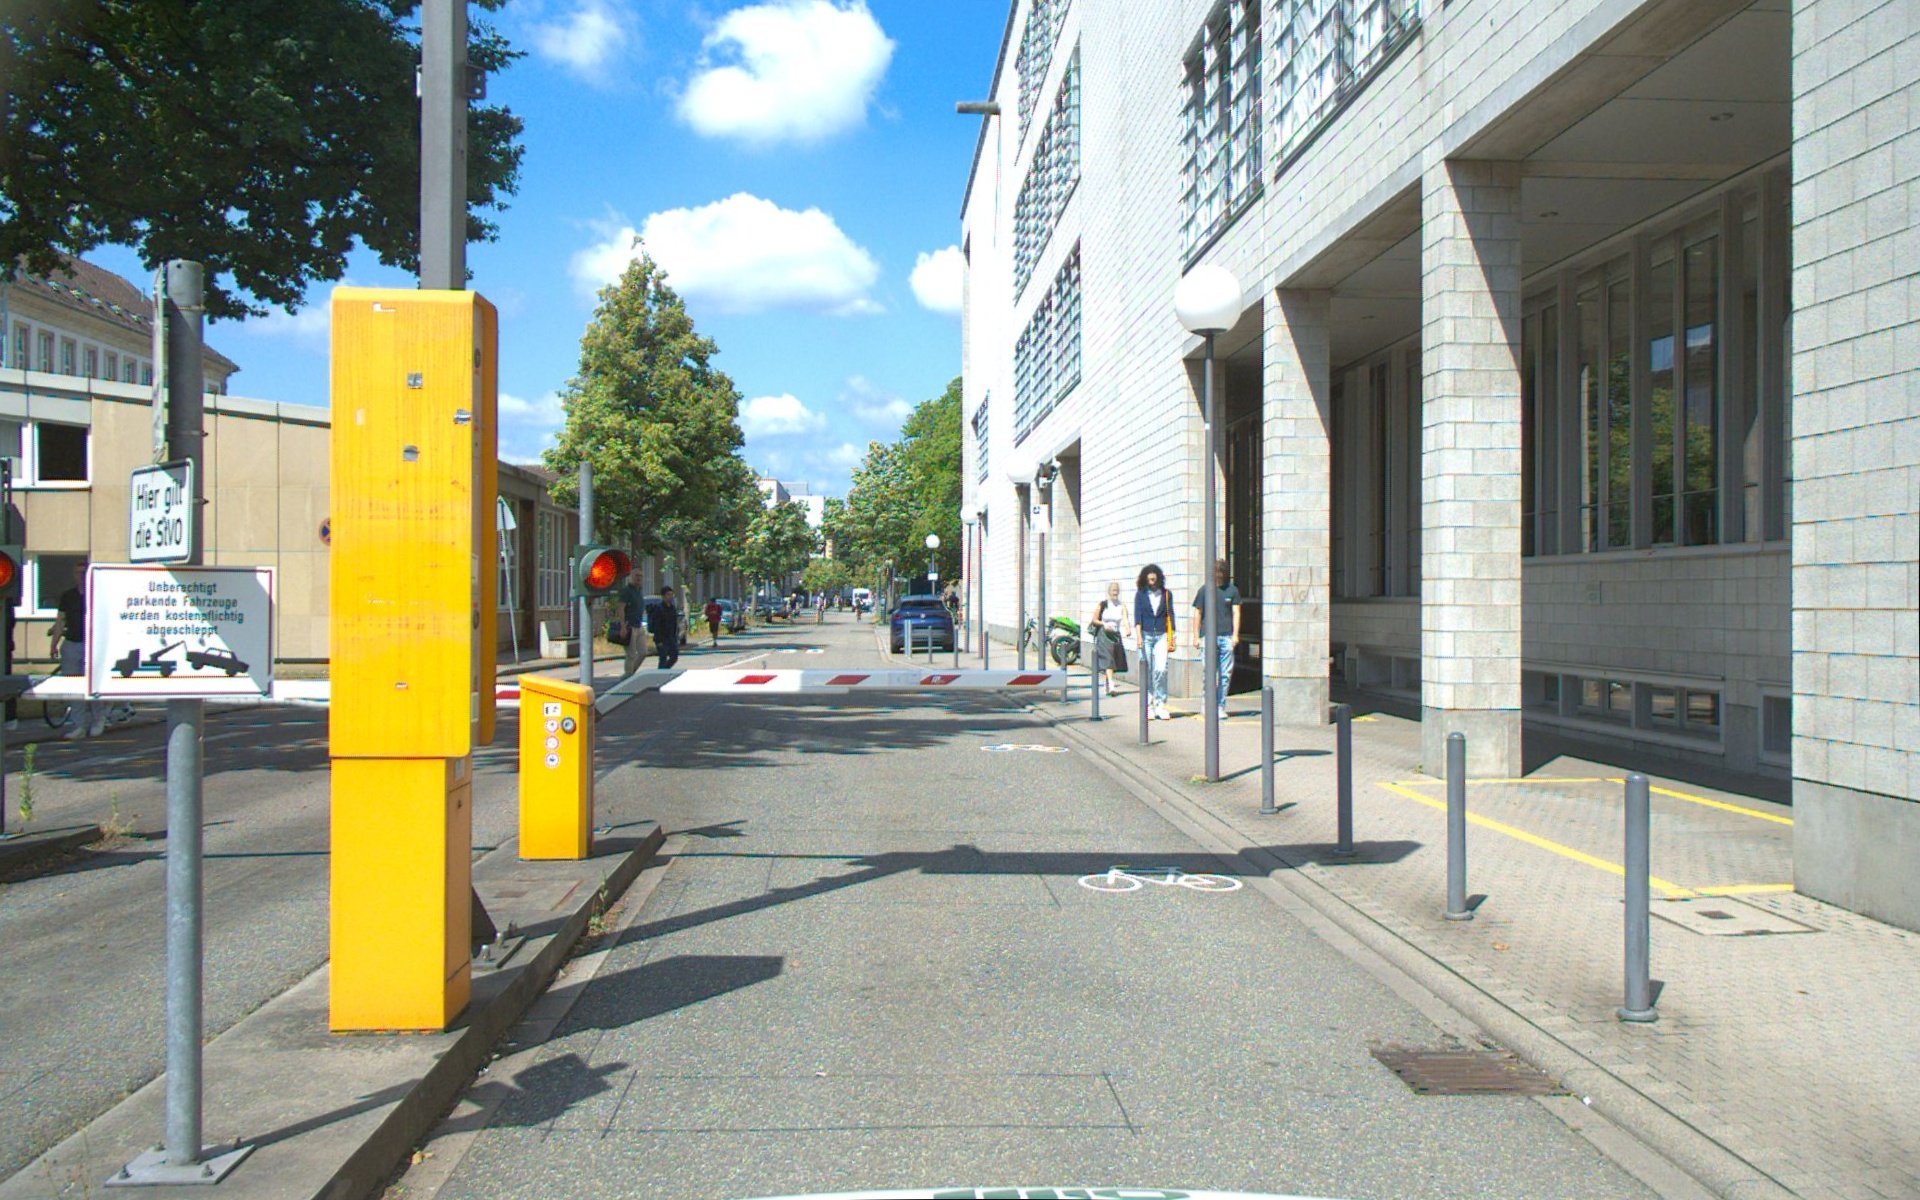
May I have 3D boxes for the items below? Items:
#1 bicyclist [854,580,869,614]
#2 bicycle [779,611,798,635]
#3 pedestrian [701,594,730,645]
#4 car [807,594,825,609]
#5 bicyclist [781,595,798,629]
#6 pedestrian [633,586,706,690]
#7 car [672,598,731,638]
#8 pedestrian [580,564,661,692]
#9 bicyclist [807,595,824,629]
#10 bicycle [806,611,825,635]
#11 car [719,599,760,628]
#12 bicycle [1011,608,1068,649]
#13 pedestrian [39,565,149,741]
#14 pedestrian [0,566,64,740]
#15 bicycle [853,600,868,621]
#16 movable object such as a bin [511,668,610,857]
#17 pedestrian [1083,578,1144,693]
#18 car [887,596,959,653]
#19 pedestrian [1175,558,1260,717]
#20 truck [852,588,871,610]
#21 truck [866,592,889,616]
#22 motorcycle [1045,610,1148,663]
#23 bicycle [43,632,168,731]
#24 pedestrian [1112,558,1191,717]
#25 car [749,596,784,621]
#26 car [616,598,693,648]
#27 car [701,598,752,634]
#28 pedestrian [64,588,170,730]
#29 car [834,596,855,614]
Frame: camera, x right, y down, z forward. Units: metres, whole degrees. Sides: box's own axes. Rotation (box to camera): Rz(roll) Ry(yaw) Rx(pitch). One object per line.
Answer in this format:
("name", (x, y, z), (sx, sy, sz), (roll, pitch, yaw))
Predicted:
("bicyclist", (-6.560, -0.194, 109.663), (0.968, 2.169, 1.035), (0, -2, -4))
("bicycle", (-9.954, 1.347, 96.075), (0.968, 1.339, 2.961), (0, -2, -4))
("pedestrian", (-8.062, 0.639, 54.553), (0.876, 1.661, 0.887), (0, -1, -5))
("car", (-18.120, 0.141, 208.543), (1.953, 1.751, 3.999), (0, -2, -1))
("bicyclist", (-9.930, 0.712, 96.108), (0.968, 1.917, 1.035), (0, -2, -6))
("pedestrian", (-4.750, 0.614, 26.993), (0.886, 1.661, 0.877), (1, -1, -35))
("car", (-10.487, 0.706, 67.414), (1.954, 1.573, 4.209), (0, 0, -3))
("pedestrian", (-5.363, 0.442, 26.106), (0.994, 1.959, 0.877), (1, -1, -35))
("bicyclist", (-8.374, 0.705, 95.784), (0.967, 1.917, 1.035), (0, -2, -4))
("bicycle", (-8.396, 1.323, 96.096), (0.967, 1.339, 2.962), (0, -2, -3))
("car", (-12.227, 0.721, 91.869), (1.954, 1.573, 4.209), (0, 0, -3))
("bicycle", (2.161, 0.764, 44.725), (1.511, 1.085, 0.648), (-1, 0, 4))
("pedestrian", (-9.334, 0.551, 17.861), (0.691, 1.841, 1.000), (0, 0, -5))
("pedestrian", (-10.443, 0.562, 17.929), (1.035, 1.847, 0.805), (0, 0, -5))
("bicycle", (-6.580, 0.707, 109.173), (0.967, 1.339, 2.961), (0, -2, -4))
("movable object such as a bin", (-2.030, 0.818, 8.430), (0.407, 0.921, 0.353), (0, 0, 1))
("pedestrian", (2.294, 0.515, 24.814), (0.726, 1.661, 0.887), (-2, 0, -5))
("car", (-1.120, 0.664, 47.576), (1.954, 1.573, 4.209), (0, 0, -3))
("pedestrian", (3.038, 0.429, 19.585), (0.752, 1.811, 0.909), (-2, 0, -5))
("truck", (-10.841, -0.115, 182.374), (1.954, 2.311, 4.610), (0, -2, -5))
("truck", (-7.629, 0.354, 152.223), (1.954, 2.049, 3.995), (0, -2, -5))
("motorcycle", (2.881, 0.782, 35.107), (2.080, 1.040, 0.659), (-2, -2, -2))
("bicycle", (-10.255, 0.956, 19.917), (0.632, 1.067, 1.898), (0, 1, -4))
("pedestrian", (2.258, 0.426, 19.633), (0.681, 1.811, 1.084), (-2, 0, -5))
("car", (-12.174, 0.534, 104.286), (1.954, 1.573, 4.209), (0, 0, -3))
("car", (-9.968, 0.710, 54.269), (1.954, 1.573, 4.209), (0, 0, -3))
("car", (-10.721, 0.708, 76.201), (1.954, 1.573, 4.209), (0, 0, -3))
("pedestrian", (-9.792, 0.667, 19.247), (0.838, 1.614, 0.805), (0, 0, -5))
("car", (-12.069, 0.522, 172.639), (1.953, 1.751, 3.999), (0, -2, -1))
